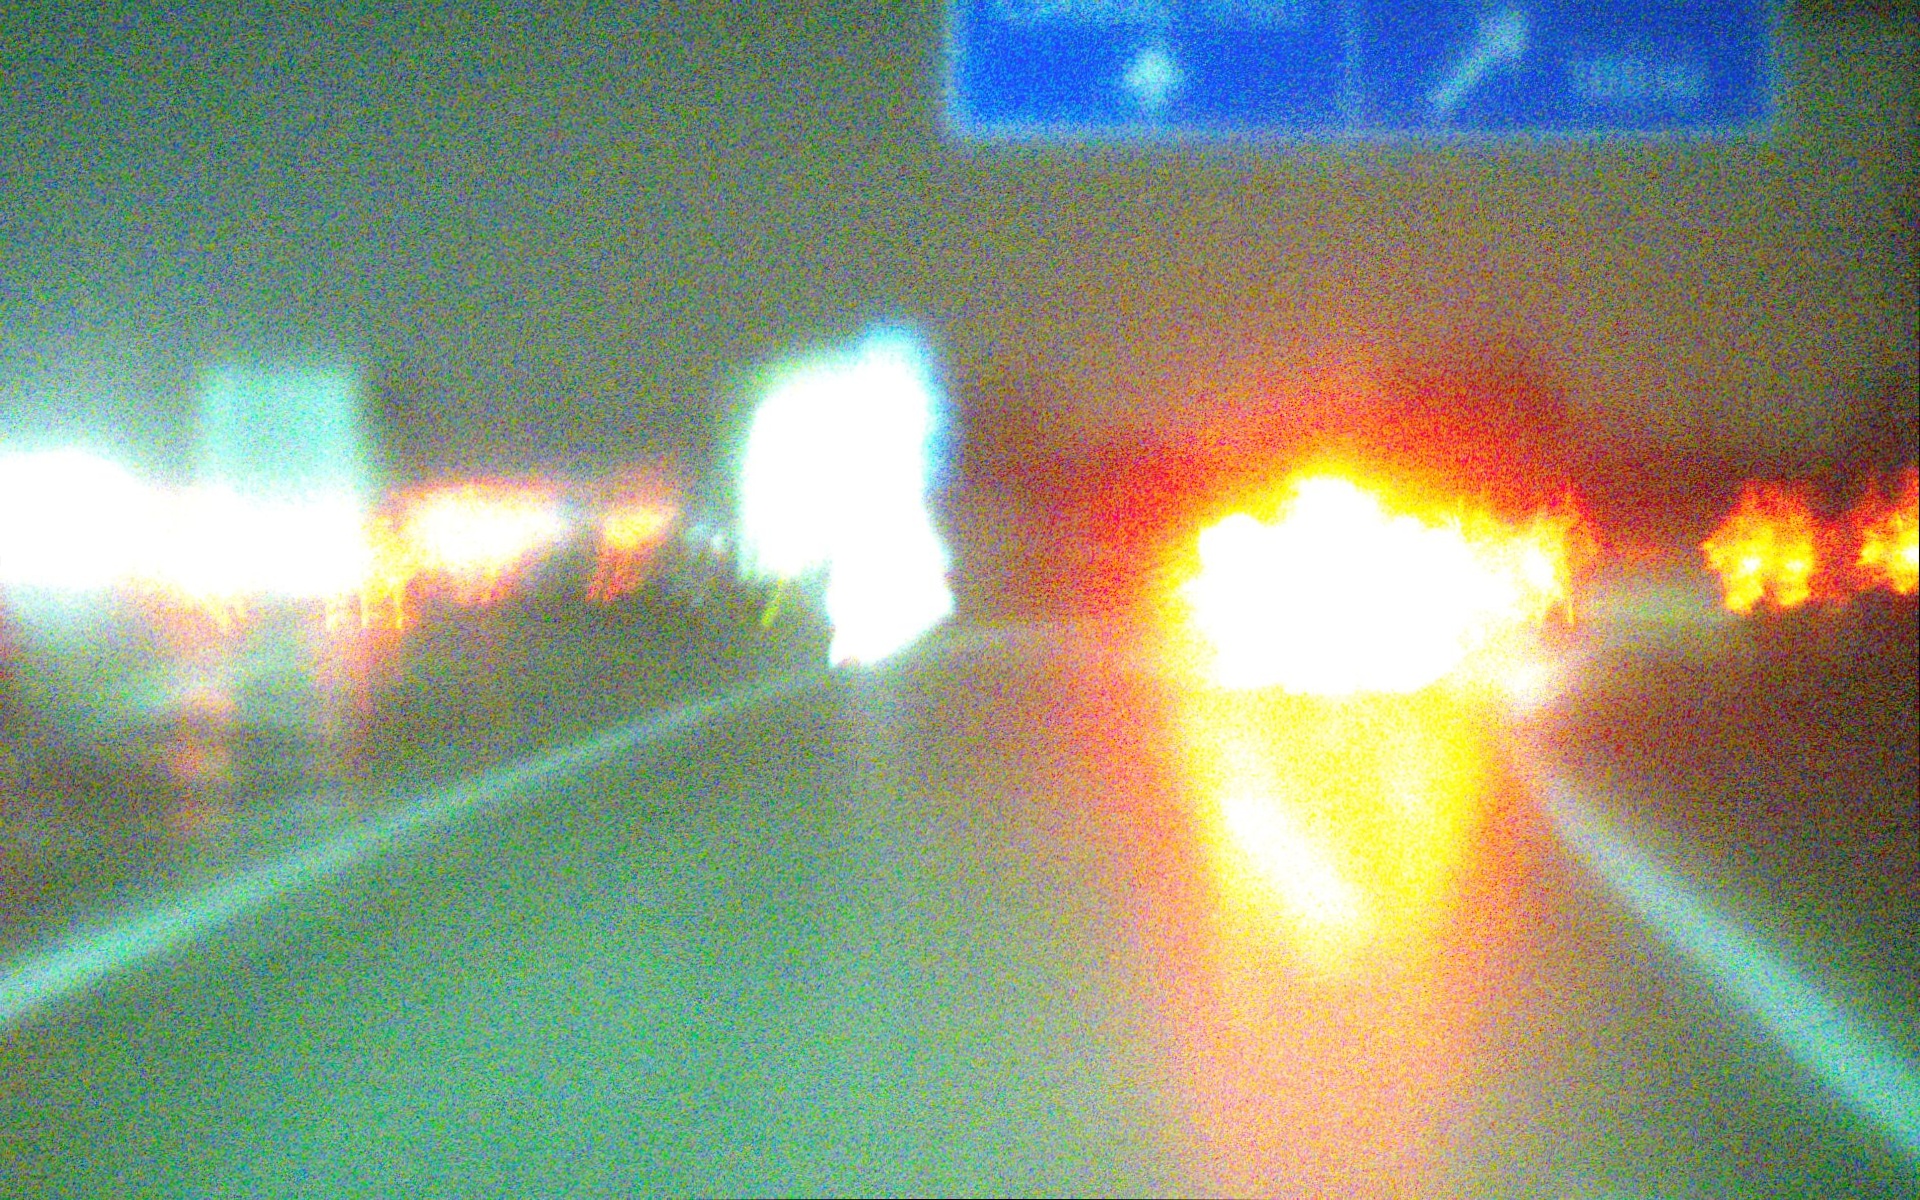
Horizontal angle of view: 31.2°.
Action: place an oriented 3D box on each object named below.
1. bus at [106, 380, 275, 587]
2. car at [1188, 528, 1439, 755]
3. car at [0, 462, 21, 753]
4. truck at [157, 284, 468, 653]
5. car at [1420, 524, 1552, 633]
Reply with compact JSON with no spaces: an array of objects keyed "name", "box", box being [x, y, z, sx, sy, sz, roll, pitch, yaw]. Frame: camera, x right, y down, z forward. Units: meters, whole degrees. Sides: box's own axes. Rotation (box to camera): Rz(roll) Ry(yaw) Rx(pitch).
[{"name":"bus","box":[-18.158,-2.707,81.741,3.096,4.492,10.916,2,1,-9]},{"name":"car","box":[3.094,0.308,30.173,1.994,1.801,3.999,2,1,6]},{"name":"car","box":[-7.429,0.063,21.937,2.125,2.007,4.647,2,1,-8]},{"name":"truck","box":[-10.926,-2.164,59.408,4.209,5.629,11.470,2,1,-6]},{"name":"car","box":[9.341,-0.393,60.834,1.995,1.801,3.998,2,1,12]}]
